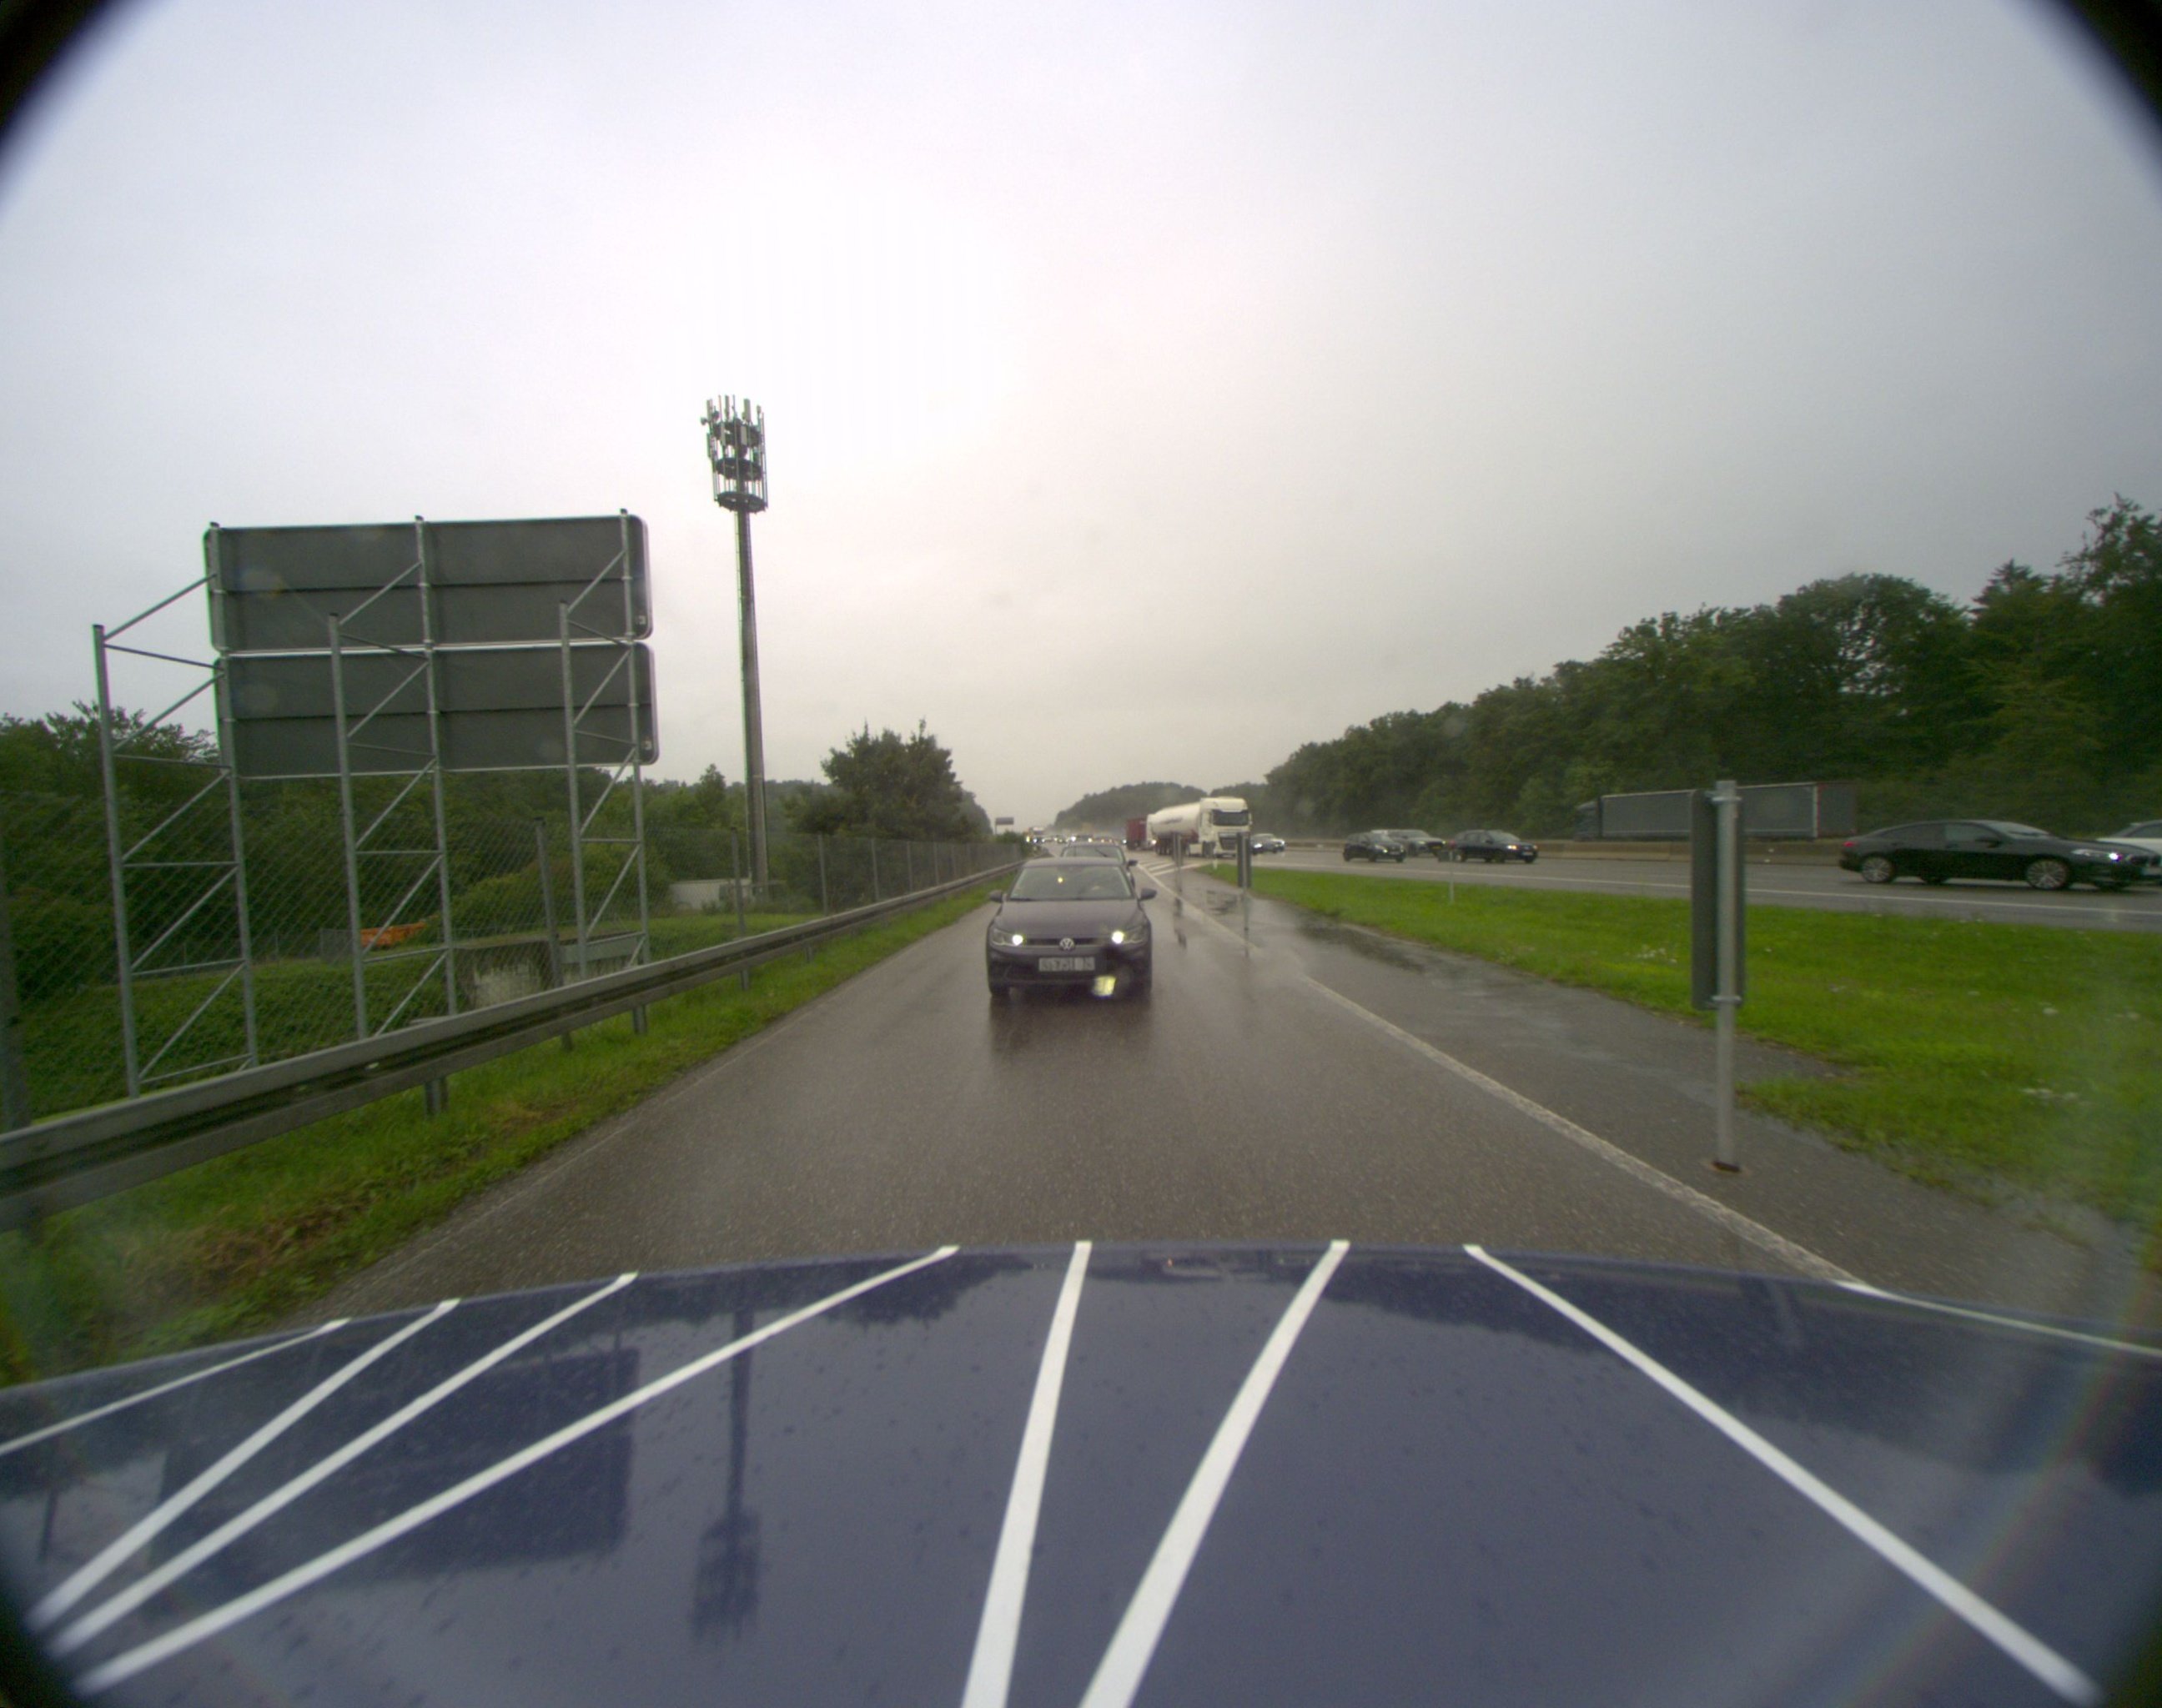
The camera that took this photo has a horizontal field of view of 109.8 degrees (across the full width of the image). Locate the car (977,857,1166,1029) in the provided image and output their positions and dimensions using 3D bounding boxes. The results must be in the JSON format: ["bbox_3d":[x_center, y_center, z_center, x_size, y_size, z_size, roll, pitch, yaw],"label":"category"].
[{"bbox_3d":[-0.097,0.841,9.233,1.670,1.395,4.260,-4,1,0],"label":"car"}]

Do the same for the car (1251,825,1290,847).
[{"bbox_3d":[17.578,-1.645,70.682,2.000,2.002,3.996,-2,1,-9],"label":"car"}]

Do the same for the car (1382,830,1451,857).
[{"bbox_3d":[21.175,-0.692,48.146,1.824,1.659,4.400,0,1,-10],"label":"car"}]

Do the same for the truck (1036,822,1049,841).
[{"bbox_3d":[-9.120,-5.248,179.982,2.597,4.121,5.228,-4,1,-2],"label":"truck"}]

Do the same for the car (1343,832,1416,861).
[{"bbox_3d":[14.981,-0.397,38.384,1.823,1.364,3.997,-1,1,-6],"label":"car"}]

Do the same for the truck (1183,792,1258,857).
[{"bbox_3d":[9.152,-1.889,50.624,2.759,3.986,6.501,-2,1,-10],"label":"truck"}]

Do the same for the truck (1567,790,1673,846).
[{"bbox_3d":[38.615,-2.503,54.689,3.051,3.726,5.639,-3,1,-10],"label":"truck"}]

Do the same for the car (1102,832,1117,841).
[{"bbox_3d":[5.016,-3.089,134.031,1.789,1.550,4.094,-1,0,-12],"label":"car"}]

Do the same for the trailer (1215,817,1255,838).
[{"bbox_3d":[27.098,-4.543,134.776,2.657,3.478,13.473,-2,2,-7],"label":"trailer"}]

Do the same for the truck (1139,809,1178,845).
[{"bbox_3d":[8.370,-2.910,82.586,2.698,3.636,5.320,-5,2,-8],"label":"truck"}]

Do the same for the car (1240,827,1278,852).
[{"bbox_3d":[14.746,-1.219,63.085,1.862,2.002,3.997,-1,2,-5],"label":"car"}]

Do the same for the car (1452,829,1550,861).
[{"bbox_3d":[19.513,-0.408,35.527,1.824,1.406,4.119,-1,1,-9],"label":"car"}]

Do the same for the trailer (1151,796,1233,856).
[{"bbox_3d":[8.063,-2.015,57.112,2.771,4.003,11.029,-1,1,-10],"label":"trailer"}]

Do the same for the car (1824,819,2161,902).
[{"bbox_3d":[18.977,0.055,15.967,1.886,1.472,4.496,-1,2,-12],"label":"car"}]

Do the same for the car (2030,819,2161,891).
[{"bbox_3d":[23.216,0.018,15.463,1.886,1.472,4.497,-1,2,-9],"label":"car"}]

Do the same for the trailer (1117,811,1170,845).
[{"bbox_3d":[7.175,-3.021,90.566,2.692,3.486,15.110,-5,2,-8],"label":"trailer"}]

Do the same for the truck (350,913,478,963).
[{"bbox_3d":[-51.464,6.375,59.041,2.834,2.646,8.261,-7,0,-4],"label":"truck"}]

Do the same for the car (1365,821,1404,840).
[{"bbox_3d":[34.135,-2.658,85.471,2.000,2.003,4.478,-4,3,-9],"label":"car"}]

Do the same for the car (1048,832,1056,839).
[{"bbox_3d":[-7.763,-4.987,201.576,1.775,1.668,3.996,-4,2,-7],"label":"car"}]

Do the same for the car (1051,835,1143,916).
[{"bbox_3d":[0.376,0.404,18.060,1.810,1.532,3.999,-5,2,1],"label":"car"}]

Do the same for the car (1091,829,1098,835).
[{"bbox_3d":[4.456,-7.424,257.402,1.745,1.726,3.845,-3,2,-9],"label":"car"}]

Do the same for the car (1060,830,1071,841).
[{"bbox_3d":[-3.351,-4.057,166.708,1.918,2.003,3.995,-7,4,-6],"label":"car"}]

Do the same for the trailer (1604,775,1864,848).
[{"bbox_3d":[39.838,-2.370,47.578,3.038,3.790,13.395,-3,1,-10],"label":"trailer"}]
